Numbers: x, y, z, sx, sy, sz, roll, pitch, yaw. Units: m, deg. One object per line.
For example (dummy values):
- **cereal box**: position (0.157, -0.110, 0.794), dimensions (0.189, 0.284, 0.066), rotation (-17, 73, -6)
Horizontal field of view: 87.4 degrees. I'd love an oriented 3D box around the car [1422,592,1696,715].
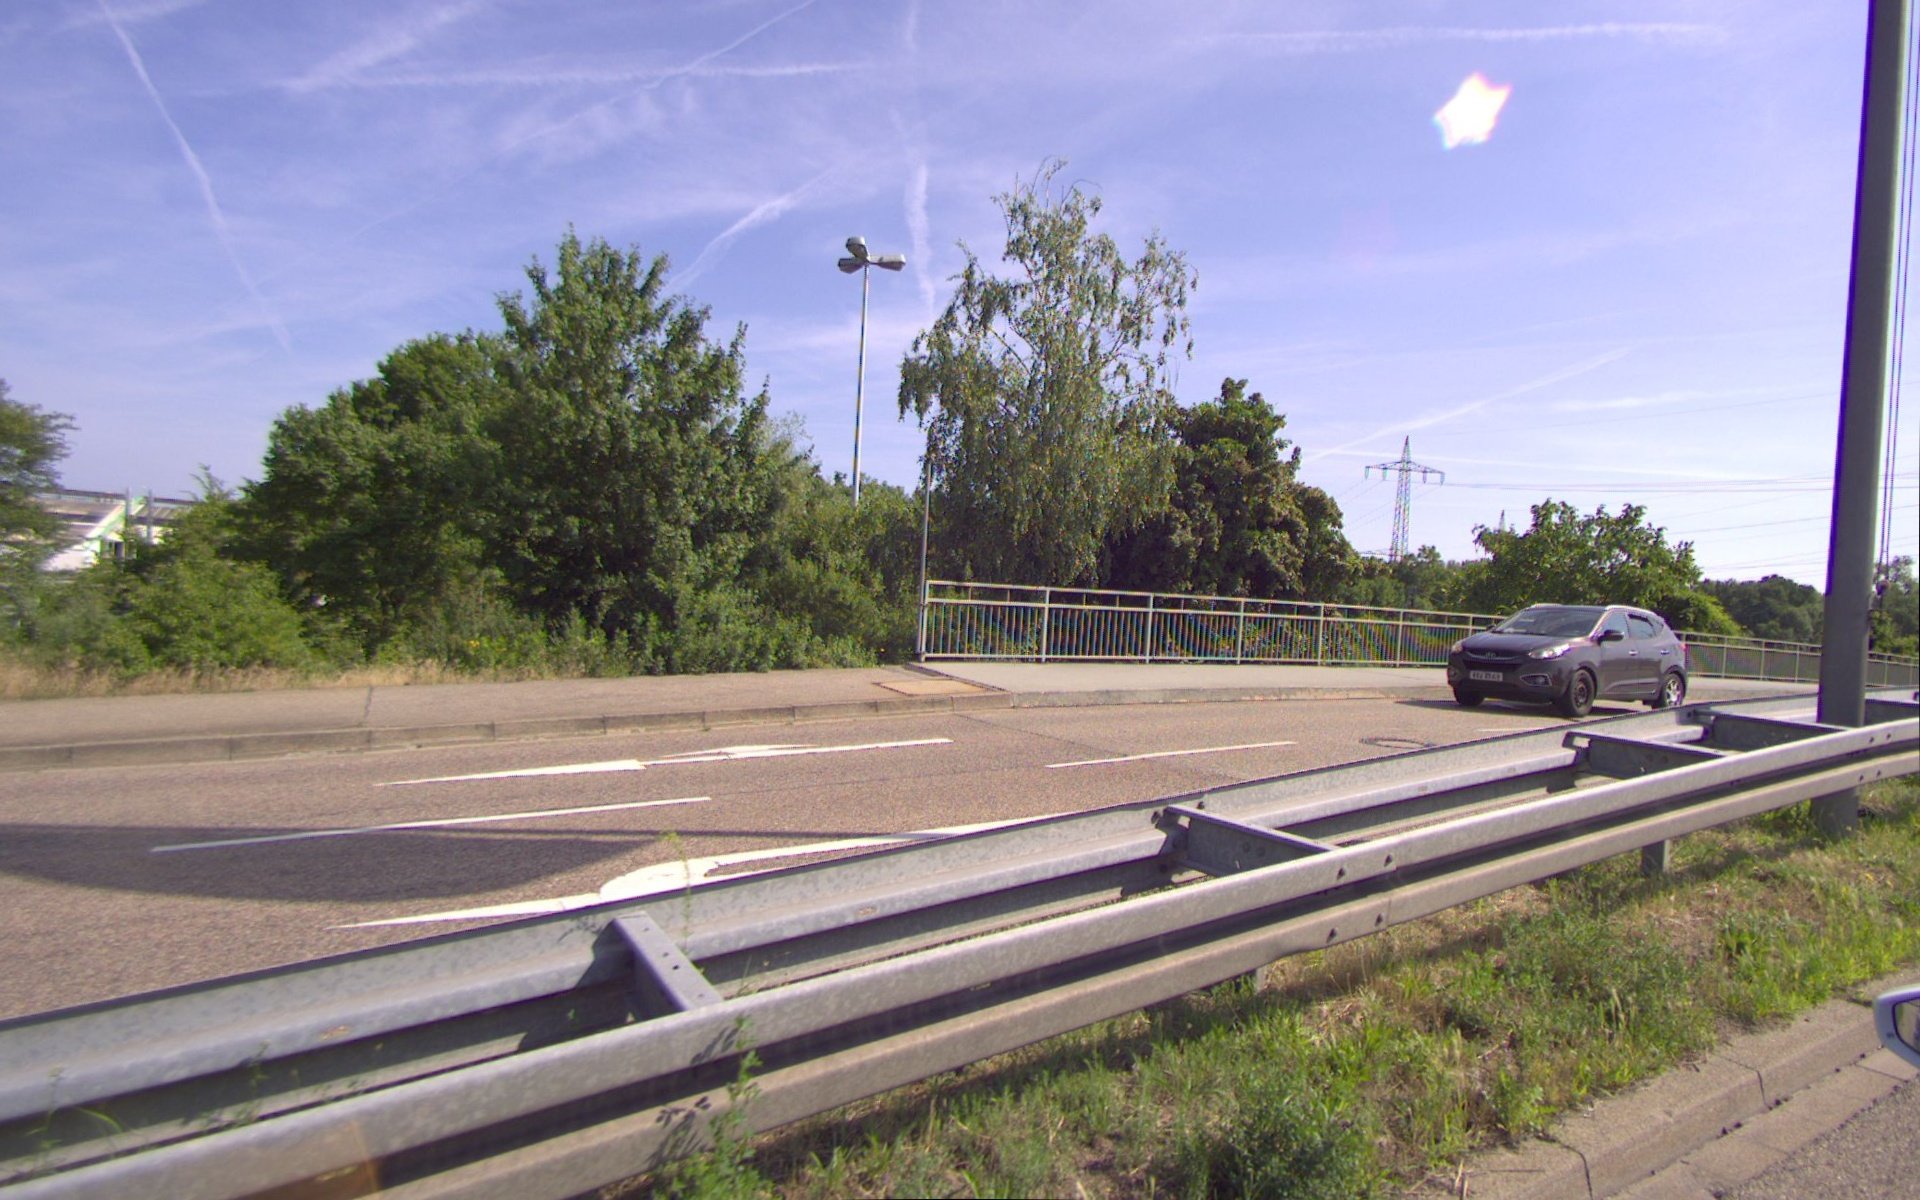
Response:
- **car**: position (9.280, 0.798, 15.495), dimensions (4.177, 1.657, 1.872), rotation (2, 0, -31)
